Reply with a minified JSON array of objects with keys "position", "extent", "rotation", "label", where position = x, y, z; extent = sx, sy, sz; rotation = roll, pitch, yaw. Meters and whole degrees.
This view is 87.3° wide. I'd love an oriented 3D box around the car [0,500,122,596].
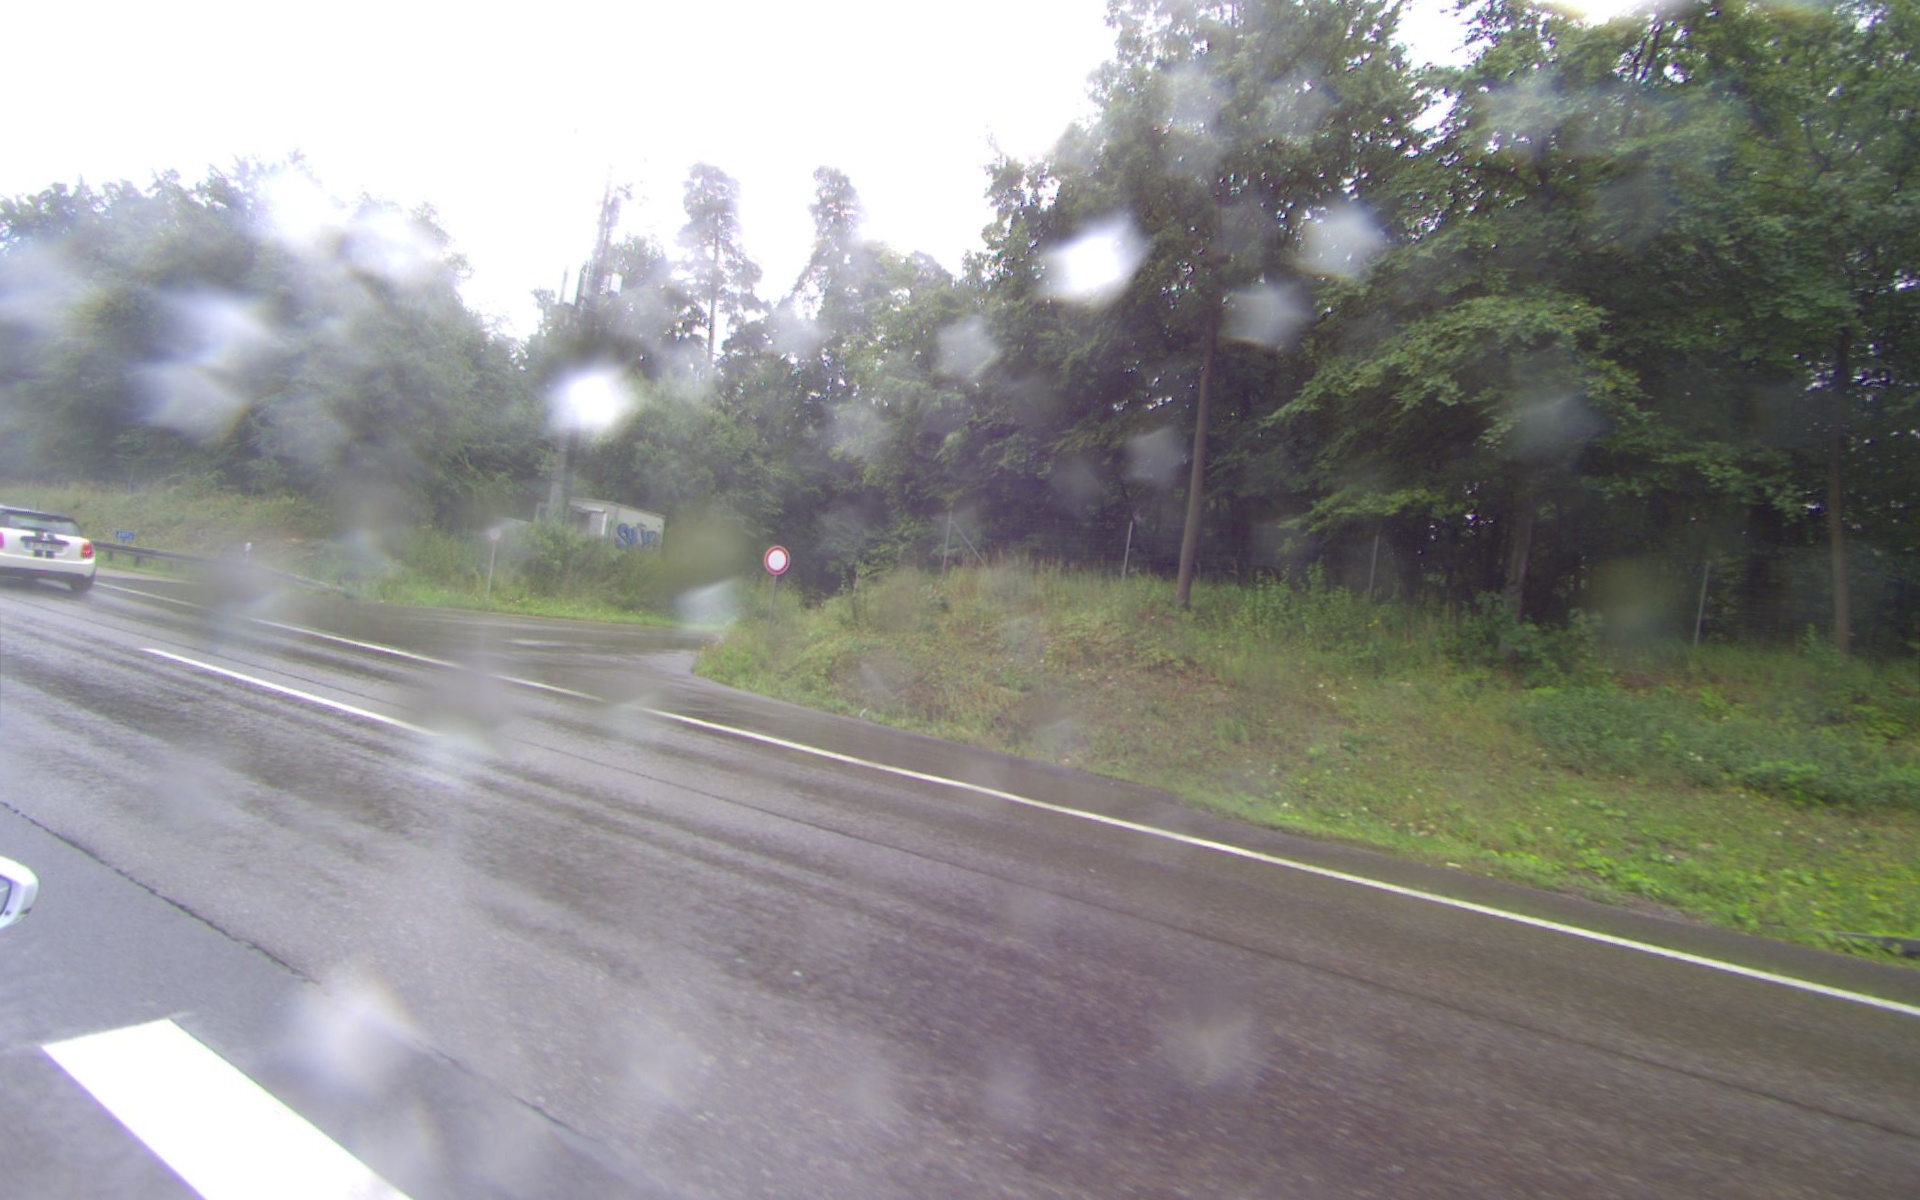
[{"position":[-17.533,-1.086,18.710],"extent":[4.160,1.423,1.793],"rotation":[7,-2,34],"label":"car"}]
